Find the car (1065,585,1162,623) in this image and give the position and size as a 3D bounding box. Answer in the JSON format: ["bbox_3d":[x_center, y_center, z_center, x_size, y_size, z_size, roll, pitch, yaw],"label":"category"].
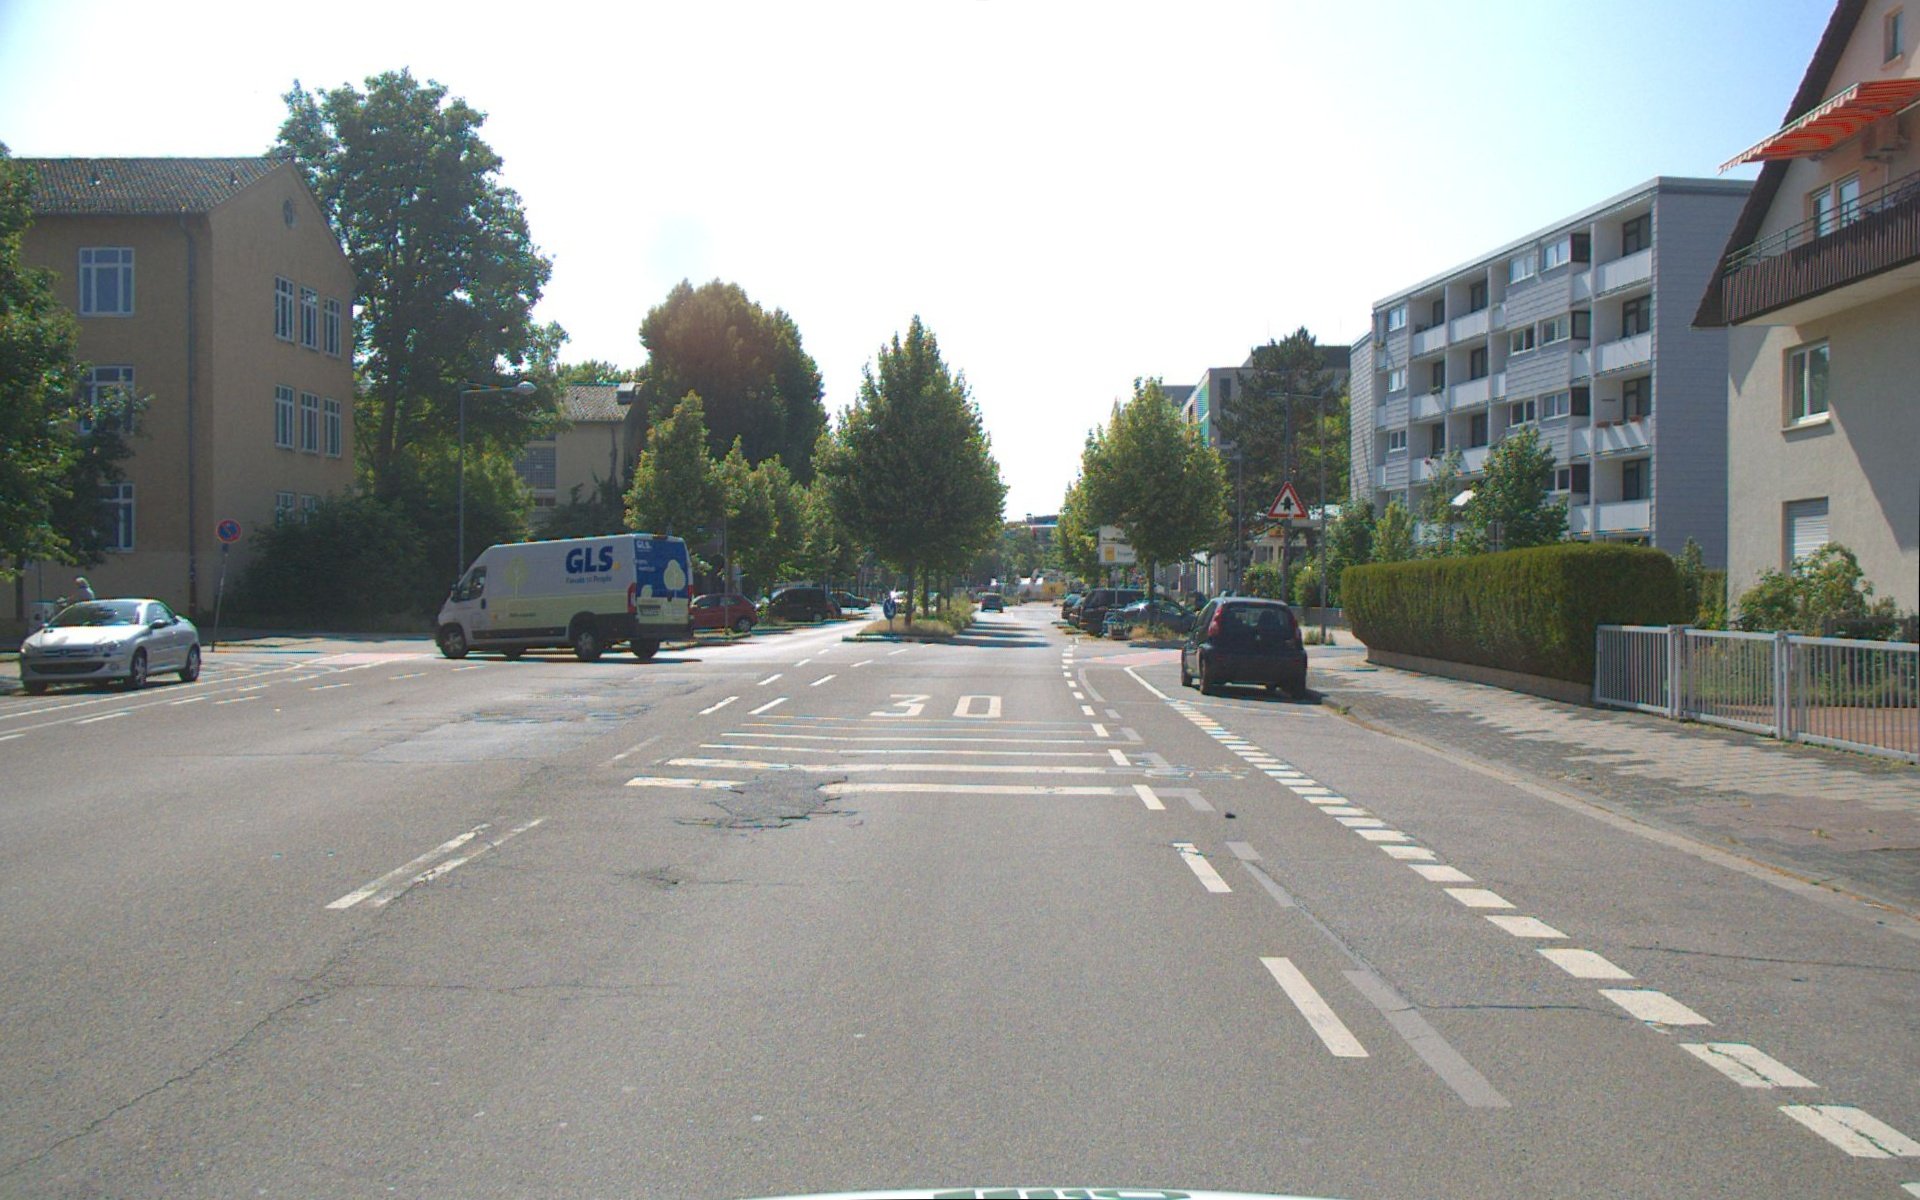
[{"bbox_3d":[6.673,0.169,72.057,3.915,1.668,1.749,0,0,-10],"label":"car"}]

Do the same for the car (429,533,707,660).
[{"bbox_3d":[-8.612,-0.052,36.157,6.001,2.568,2.279,-1,0,30],"label":"car"}]

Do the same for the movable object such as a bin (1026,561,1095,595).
[{"bbox_3d":[14.109,-3.039,232.412,9.472,4.629,3.165,1,0,3],"label":"movable object such as a bin"}]

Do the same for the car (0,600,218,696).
[{"bbox_3d":[-13.307,0.697,26.128,1.687,1.289,3.995,-1,1,-6],"label":"car"}]

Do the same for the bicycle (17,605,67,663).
[{"bbox_3d":[-18.520,0.675,33.369,1.686,1.100,0.375,1,1,43],"label":"bicycle"}]

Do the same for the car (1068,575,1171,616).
[{"bbox_3d":[6.668,-0.197,69.131,3.926,1.668,1.744,0,1,-19],"label":"car"}]

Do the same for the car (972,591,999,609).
[{"bbox_3d":[2.013,-0.028,130.296,1.953,1.422,3.999,0,0,-1],"label":"car"}]

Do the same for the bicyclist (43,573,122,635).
[{"bbox_3d":[-20.459,0.091,38.565,1.323,1.428,0.960,-1,1,21],"label":"bicyclist"}]

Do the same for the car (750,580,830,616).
[{"bbox_3d":[-8.677,-0.108,84.420,3.717,1.803,1.803,0,0,-27],"label":"car"}]

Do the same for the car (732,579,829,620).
[{"bbox_3d":[-8.482,-0.067,78.240,4.142,1.848,1.979,-1,1,-36],"label":"car"}]

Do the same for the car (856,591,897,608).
[{"bbox_3d":[-7.365,-0.048,146.171,3.529,1.401,1.637,0,0,-1],"label":"car"}]

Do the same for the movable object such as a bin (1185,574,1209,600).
[{"bbox_3d":[15.726,-0.858,109.849,1.281,1.620,1.395,-2,0,-1],"label":"movable object such as a bin"}]

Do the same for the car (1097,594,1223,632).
[{"bbox_3d":[6.759,0.426,55.871,3.935,1.258,1.740,0,0,-24],"label":"car"}]

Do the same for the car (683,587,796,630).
[{"bbox_3d":[-8.340,0.295,62.581,3.927,1.492,1.989,-1,1,-19],"label":"car"}]

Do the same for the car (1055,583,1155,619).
[{"bbox_3d":[6.874,0.044,78.148,4.685,1.689,1.734,0,0,-32],"label":"car"}]

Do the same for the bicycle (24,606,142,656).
[{"bbox_3d":[-20.457,0.719,38.596,2.491,1.132,0.960,-1,1,19],"label":"bicycle"}]

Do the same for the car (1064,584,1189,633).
[{"bbox_3d":[5.889,0.292,58.494,4.066,1.668,2.022,0,0,-32],"label":"car"}]

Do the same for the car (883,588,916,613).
[{"bbox_3d":[-3.815,0.023,105.349,1.705,1.574,4.074,-1,0,3],"label":"car"}]

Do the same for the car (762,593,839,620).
[{"bbox_3d":[-8.576,0.345,88.991,3.796,1.448,1.695,0,0,-34],"label":"car"}]

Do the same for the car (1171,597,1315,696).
[{"bbox_3d":[4.425,0.684,26.379,1.584,1.414,4.000,1,0,0],"label":"car"}]
